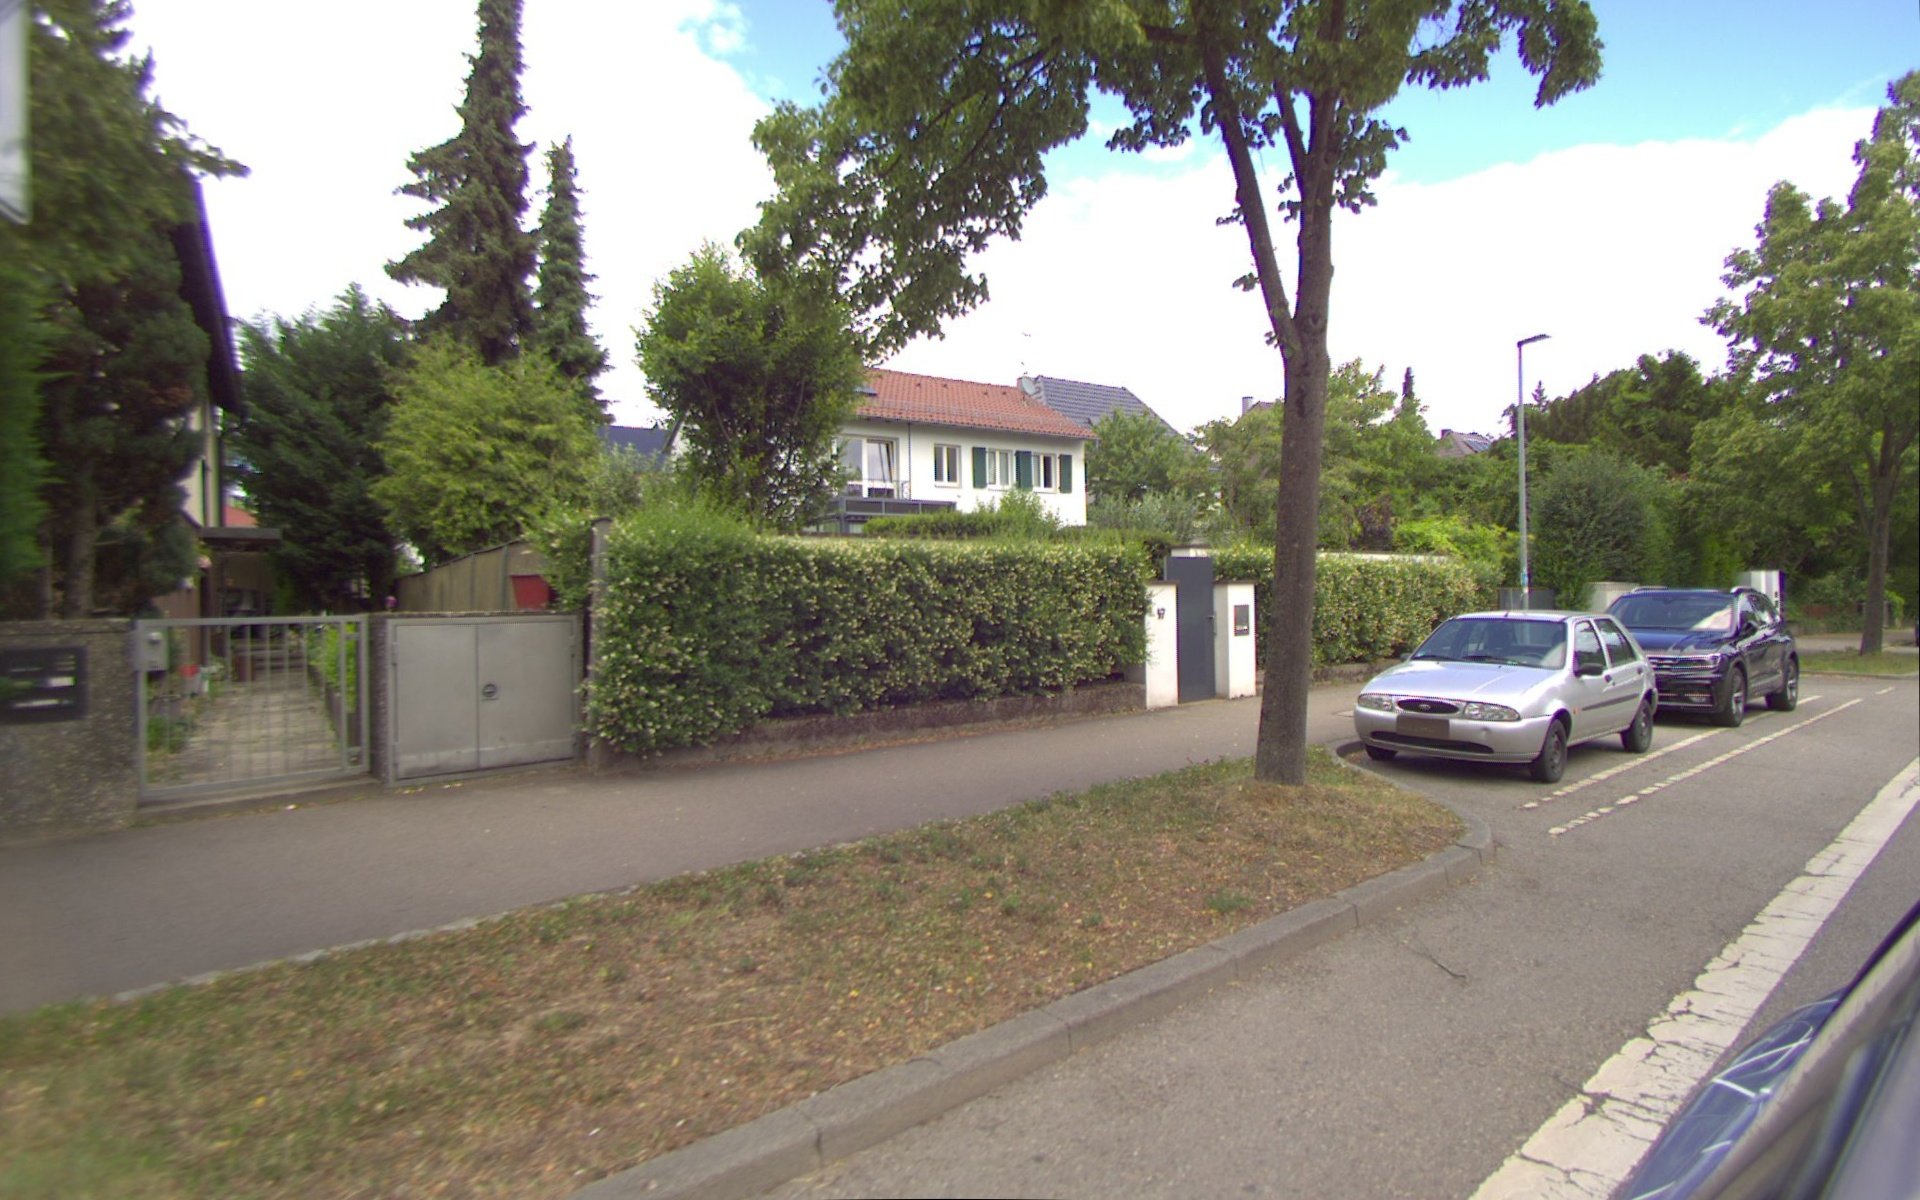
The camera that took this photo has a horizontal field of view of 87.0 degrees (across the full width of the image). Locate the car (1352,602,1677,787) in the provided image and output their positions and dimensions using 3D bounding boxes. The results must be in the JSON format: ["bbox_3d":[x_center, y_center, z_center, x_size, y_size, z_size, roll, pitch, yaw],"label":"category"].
[{"bbox_3d":[5.287,0.727,9.483,3.478,1.368,1.560,0,1,-41],"label":"car"}]

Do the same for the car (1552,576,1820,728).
[{"bbox_3d":[9.530,0.556,13.150,4.467,1.657,1.769,0,0,-40],"label":"car"}]
